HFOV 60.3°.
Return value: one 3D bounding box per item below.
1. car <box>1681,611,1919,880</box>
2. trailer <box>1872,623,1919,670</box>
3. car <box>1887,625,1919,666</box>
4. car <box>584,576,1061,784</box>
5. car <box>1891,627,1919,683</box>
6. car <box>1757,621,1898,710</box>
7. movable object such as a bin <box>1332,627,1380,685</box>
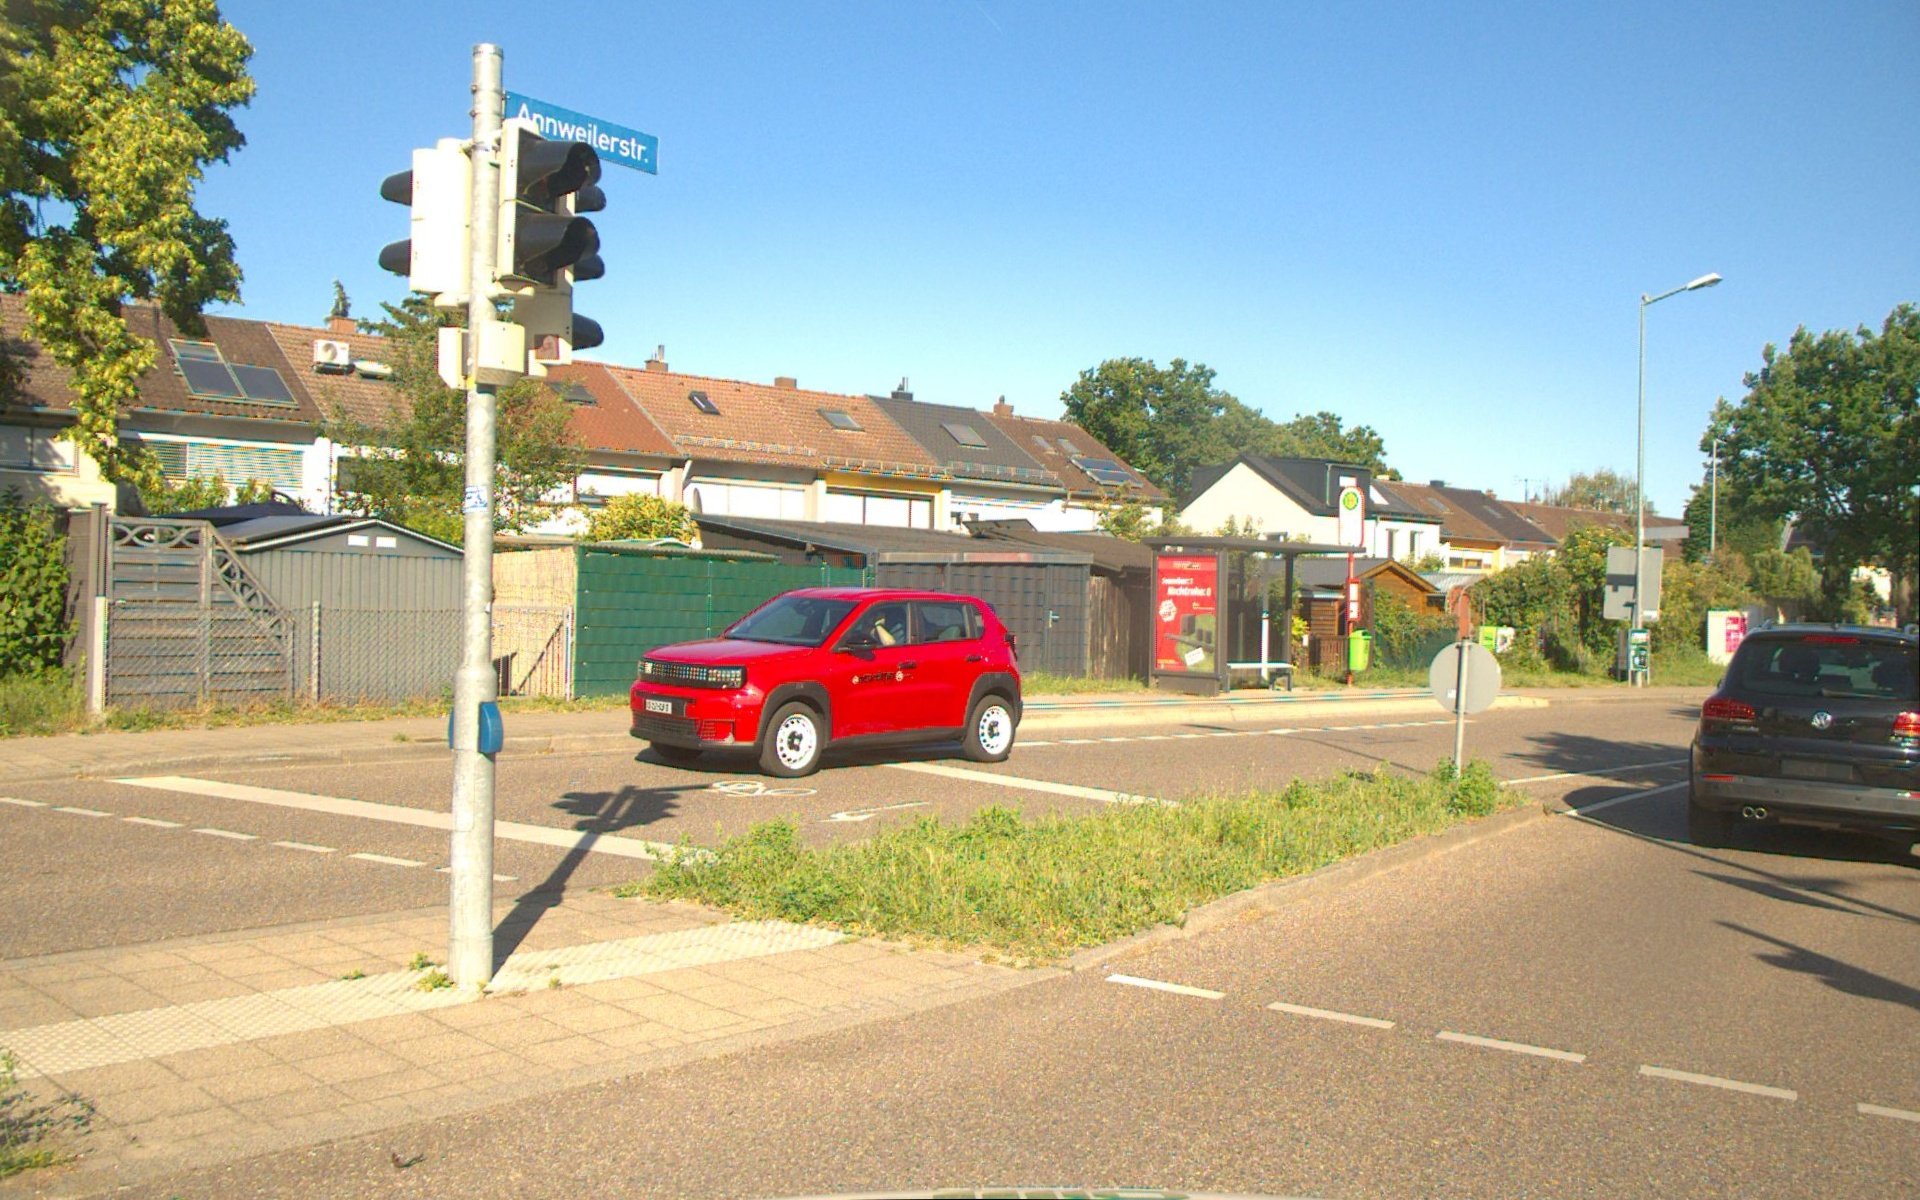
[{"bbox_3d":[6.992,0.985,12.951,1.894,1.683,4.504,3,1,30],"label":"car"},{"bbox_3d":[35.703,1.731,61.583,2.917,1.685,1.391,1,-1,36],"label":"trailer"},{"bbox_3d":[37.424,1.756,62.977,3.494,1.503,1.799,1,-1,40],"label":"car"},{"bbox_3d":[-1.140,0.658,15.183,1.913,1.616,4.153,1,0,43],"label":"car"},{"bbox_3d":[27.583,1.560,46.211,1.963,1.468,4.428,3,1,39],"label":"car"},{"bbox_3d":[17.705,1.289,33.649,2.170,1.618,4.522,2,0,32],"label":"car"},{"bbox_3d":[7.190,1.007,30.003,0.585,0.984,0.554,6,3,44],"label":"movable object such as a bin"}]
